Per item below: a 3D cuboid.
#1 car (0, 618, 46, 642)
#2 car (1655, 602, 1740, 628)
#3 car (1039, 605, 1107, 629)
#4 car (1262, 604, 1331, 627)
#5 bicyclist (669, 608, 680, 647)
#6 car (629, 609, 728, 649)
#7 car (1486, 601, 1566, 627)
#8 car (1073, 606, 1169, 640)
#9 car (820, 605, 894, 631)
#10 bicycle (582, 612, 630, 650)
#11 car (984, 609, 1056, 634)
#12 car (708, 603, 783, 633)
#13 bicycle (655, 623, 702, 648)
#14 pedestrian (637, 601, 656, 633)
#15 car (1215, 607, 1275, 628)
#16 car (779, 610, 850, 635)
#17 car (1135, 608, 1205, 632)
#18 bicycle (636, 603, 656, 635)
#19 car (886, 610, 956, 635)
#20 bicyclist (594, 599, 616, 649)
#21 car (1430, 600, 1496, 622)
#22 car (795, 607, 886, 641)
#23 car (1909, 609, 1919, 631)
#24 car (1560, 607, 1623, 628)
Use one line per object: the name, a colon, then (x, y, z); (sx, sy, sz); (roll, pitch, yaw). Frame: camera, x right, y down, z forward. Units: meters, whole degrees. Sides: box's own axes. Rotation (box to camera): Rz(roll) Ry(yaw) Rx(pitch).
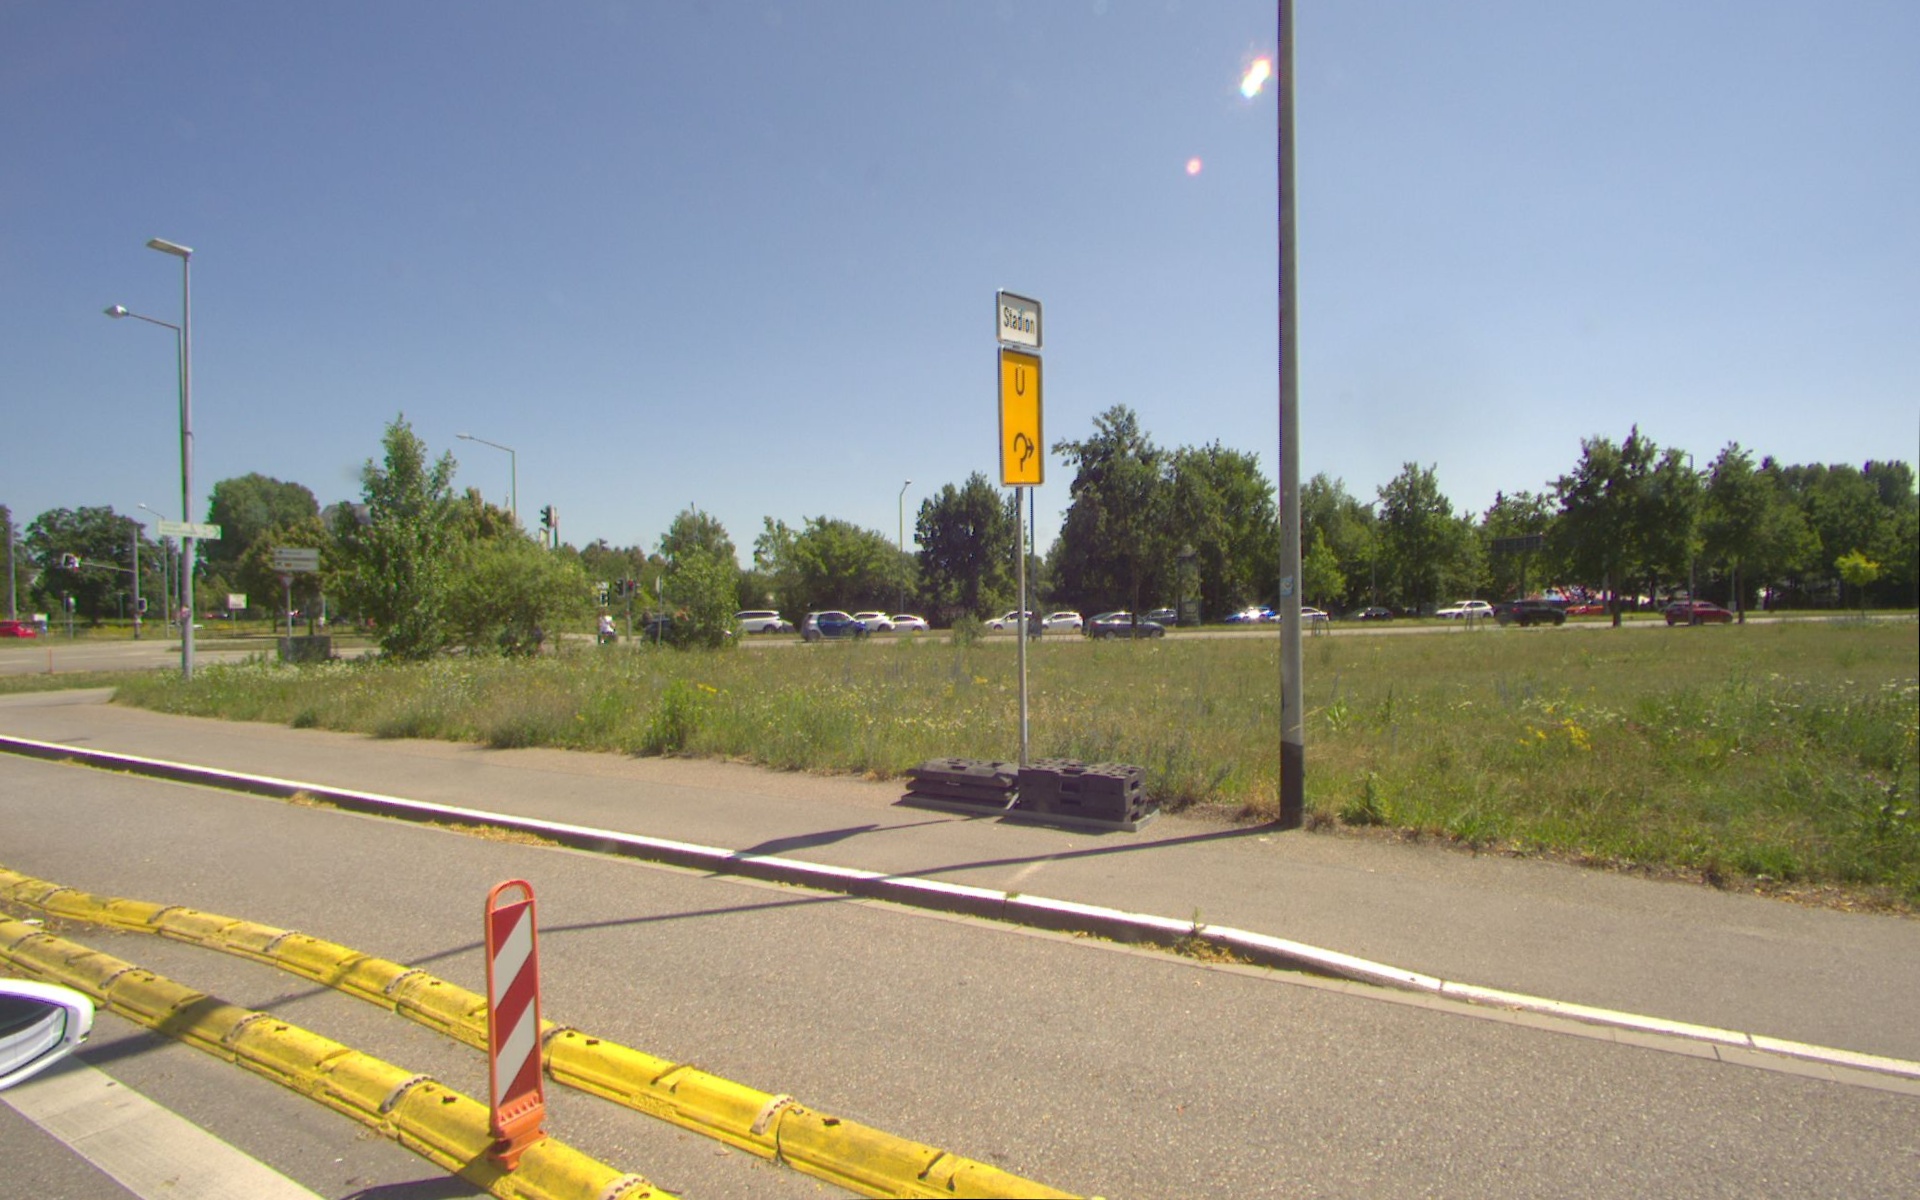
car: (-67.701, 2.102, 70.723); (4.267, 1.675, 1.899); (0, -2, -14)
car: (45.541, 0.952, 61.852); (4.340, 1.546, 1.998); (0, -2, -15)
car: (7.922, 1.159, 70.264); (4.365, 1.613, 1.845); (0, 0, -16)
car: (24.073, 1.140, 71.670); (4.366, 1.612, 1.846); (0, -2, -16)
bicyclist: (-10.006, 0.962, 35.099); (0.349, 1.336, 0.379); (0, -1, -9)
car: (-11.853, 1.230, 42.126); (3.932, 1.573, 1.723); (1, 1, -20)
car: (35.685, 0.875, 63.158); (4.342, 1.617, 1.996); (0, 1, -18)
car: (8.066, 1.135, 50.207); (4.340, 1.617, 1.996); (0, 1, -16)
car: (-6.476, 1.154, 62.843); (4.366, 1.612, 1.846); (0, -2, -16)
bicycle: (-13.145, 1.163, 37.286); (0.628, 1.370, 2.896); (0, -2, 4)
car: (3.942, 1.451, 65.919); (4.366, 1.612, 1.846); (0, -2, -16)
car: (-12.971, 1.081, 60.524); (4.366, 1.758, 1.846); (0, -2, -16)
bicycle: (-9.875, 1.243, 35.121); (1.564, 0.895, 0.369); (0, -1, -10)
pedestrian: (-16.737, 0.901, 53.436); (0.954, 1.681, 0.885); (0, -1, -16)
car: (21.023, 1.305, 73.843); (3.927, 1.558, 1.764); (0, -2, -14)
car: (-9.415, 1.481, 64.820); (4.366, 1.612, 1.846); (0, -2, -16)
car: (14.376, 1.393, 68.675); (4.366, 1.612, 1.846); (0, -2, -16)
bicycle: (-16.781, 1.036, 53.574); (0.967, 1.617, 2.879); (0, -2, -16)
car: (-2.593, 1.540, 66.941); (4.366, 1.612, 1.846); (0, -2, -16)
bicyclist: (-13.178, 0.894, 37.178); (0.597, 1.864, 0.572); (0, -1, 2)
car: (37.924, 0.851, 75.483); (4.366, 1.612, 1.846); (0, -2, -17)
car: (-6.115, 1.202, 51.096); (4.340, 1.617, 1.996); (0, 1, -16)
car: (68.753, 1.377, 69.862); (4.344, 1.547, 1.995); (0, 0, -20)
car: (50.186, 1.424, 79.569); (4.337, 1.612, 1.846); (0, -2, -16)
